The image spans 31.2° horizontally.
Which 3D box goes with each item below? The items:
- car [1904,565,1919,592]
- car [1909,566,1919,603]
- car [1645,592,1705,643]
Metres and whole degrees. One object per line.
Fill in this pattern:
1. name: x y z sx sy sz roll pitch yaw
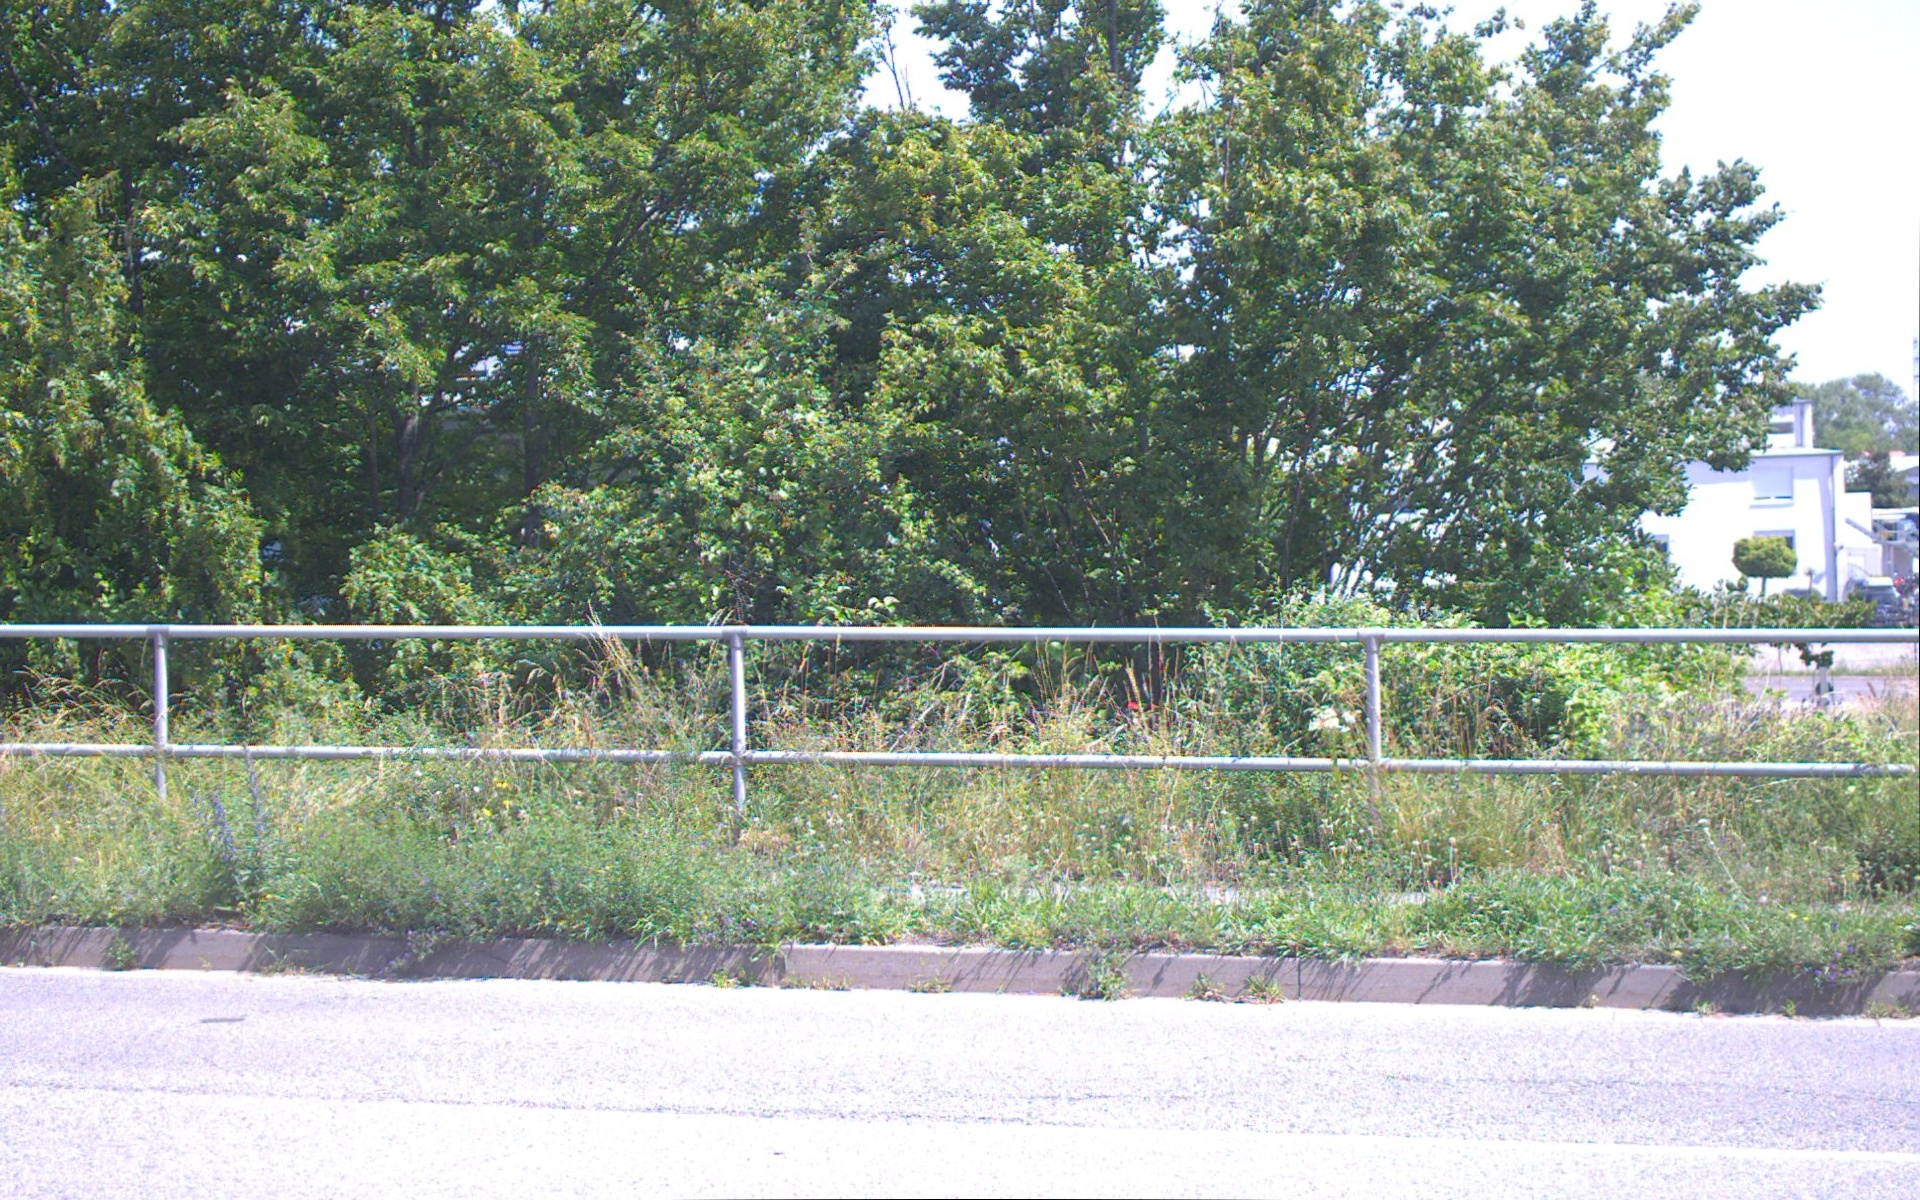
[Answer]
1. car: 49.037 -1.104 174.734 1.451 1.346 3.315 0 1 6
2. car: 46.317 -0.716 162.494 1.994 1.725 4.862 0 1 6
3. car: 30.362 0.725 146.048 1.994 2.007 4.862 0 1 6
